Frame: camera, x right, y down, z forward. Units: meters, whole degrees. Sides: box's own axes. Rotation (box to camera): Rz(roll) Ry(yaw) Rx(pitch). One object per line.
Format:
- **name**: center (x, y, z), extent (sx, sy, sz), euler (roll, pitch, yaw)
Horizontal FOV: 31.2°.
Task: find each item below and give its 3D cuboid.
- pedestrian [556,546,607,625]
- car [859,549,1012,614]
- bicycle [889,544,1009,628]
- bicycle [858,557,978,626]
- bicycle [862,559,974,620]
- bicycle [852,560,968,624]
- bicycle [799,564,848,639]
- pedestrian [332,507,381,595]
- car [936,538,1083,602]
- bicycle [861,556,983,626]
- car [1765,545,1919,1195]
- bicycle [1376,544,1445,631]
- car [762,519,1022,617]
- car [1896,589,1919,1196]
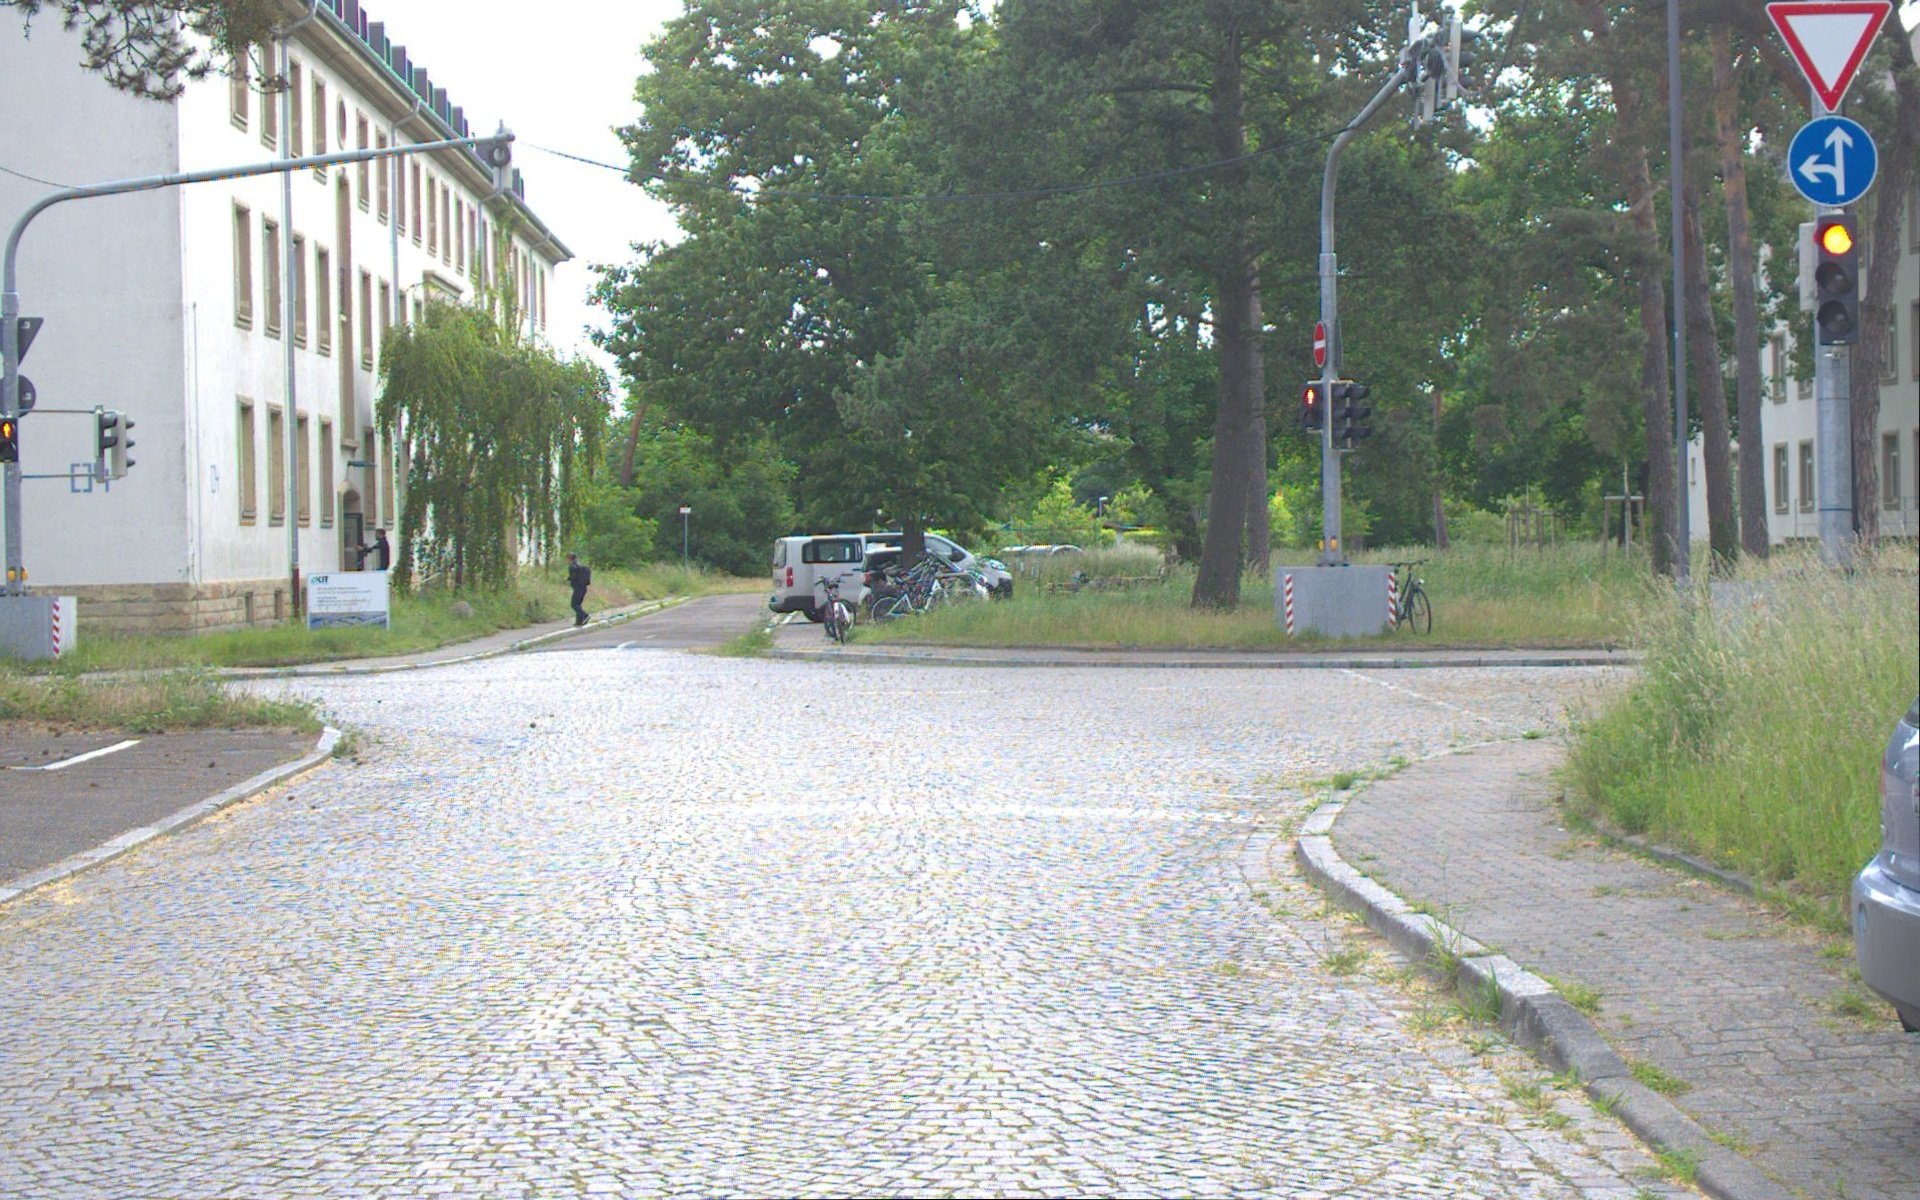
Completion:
- **pedestrian**: center (-7.853, -0.305, 71.331), extent (0.775, 1.613, 0.740), euler (-1, 1, 23)
- **car**: center (-0.524, -0.395, 71.850), extent (3.005, 1.264, 1.535), euler (-1, 1, -7)
- **bicycle**: center (-0.193, -0.243, 58.596), extent (1.954, 1.379, 0.588), euler (-1, 1, -8)
- **bicycle**: center (-0.710, -0.142, 57.756), extent (1.954, 1.113, 0.588), euler (-1, 1, -8)
- **bicycle**: center (-0.755, -0.199, 61.944), extent (1.955, 1.066, 0.588), euler (-1, 1, -26)
- **bicycle**: center (-0.857, -0.141, 59.238), extent (1.955, 1.066, 0.588), euler (-1, 1, -31)
- **bicycle**: center (-2.147, 0.018, 53.900), extent (0.603, 1.128, 1.962), euler (-1, 1, -7)
- **pedestrian**: center (-12.751, -1.031, 72.623), extent (0.774, 1.831, 0.741), euler (-2, 1, -33)
- **car**: center (1.118, -0.698, 79.124), extent (3.231, 1.411, 1.725), euler (-1, 1, -4)
- **bicycle**: center (-0.629, -0.156, 57.124), extent (1.954, 1.128, 0.588), euler (-1, 1, -8)
- **car**: center (4.140, 0.535, 8.361), extent (3.927, 1.472, 1.642), euler (-3, 1, 0)
- **bicycle**: center (5.901, -0.175, 45.134), extent (0.586, 1.102, 1.962), euler (-1, 1, -2)
- **car**: center (-1.509, -0.711, 75.191), extent (5.359, 1.918, 2.025), euler (-2, 1, -10)
- **car**: center (4.245, 0.594, 5.912), extent (4.680, 1.412, 1.871), euler (-3, 1, -3)
